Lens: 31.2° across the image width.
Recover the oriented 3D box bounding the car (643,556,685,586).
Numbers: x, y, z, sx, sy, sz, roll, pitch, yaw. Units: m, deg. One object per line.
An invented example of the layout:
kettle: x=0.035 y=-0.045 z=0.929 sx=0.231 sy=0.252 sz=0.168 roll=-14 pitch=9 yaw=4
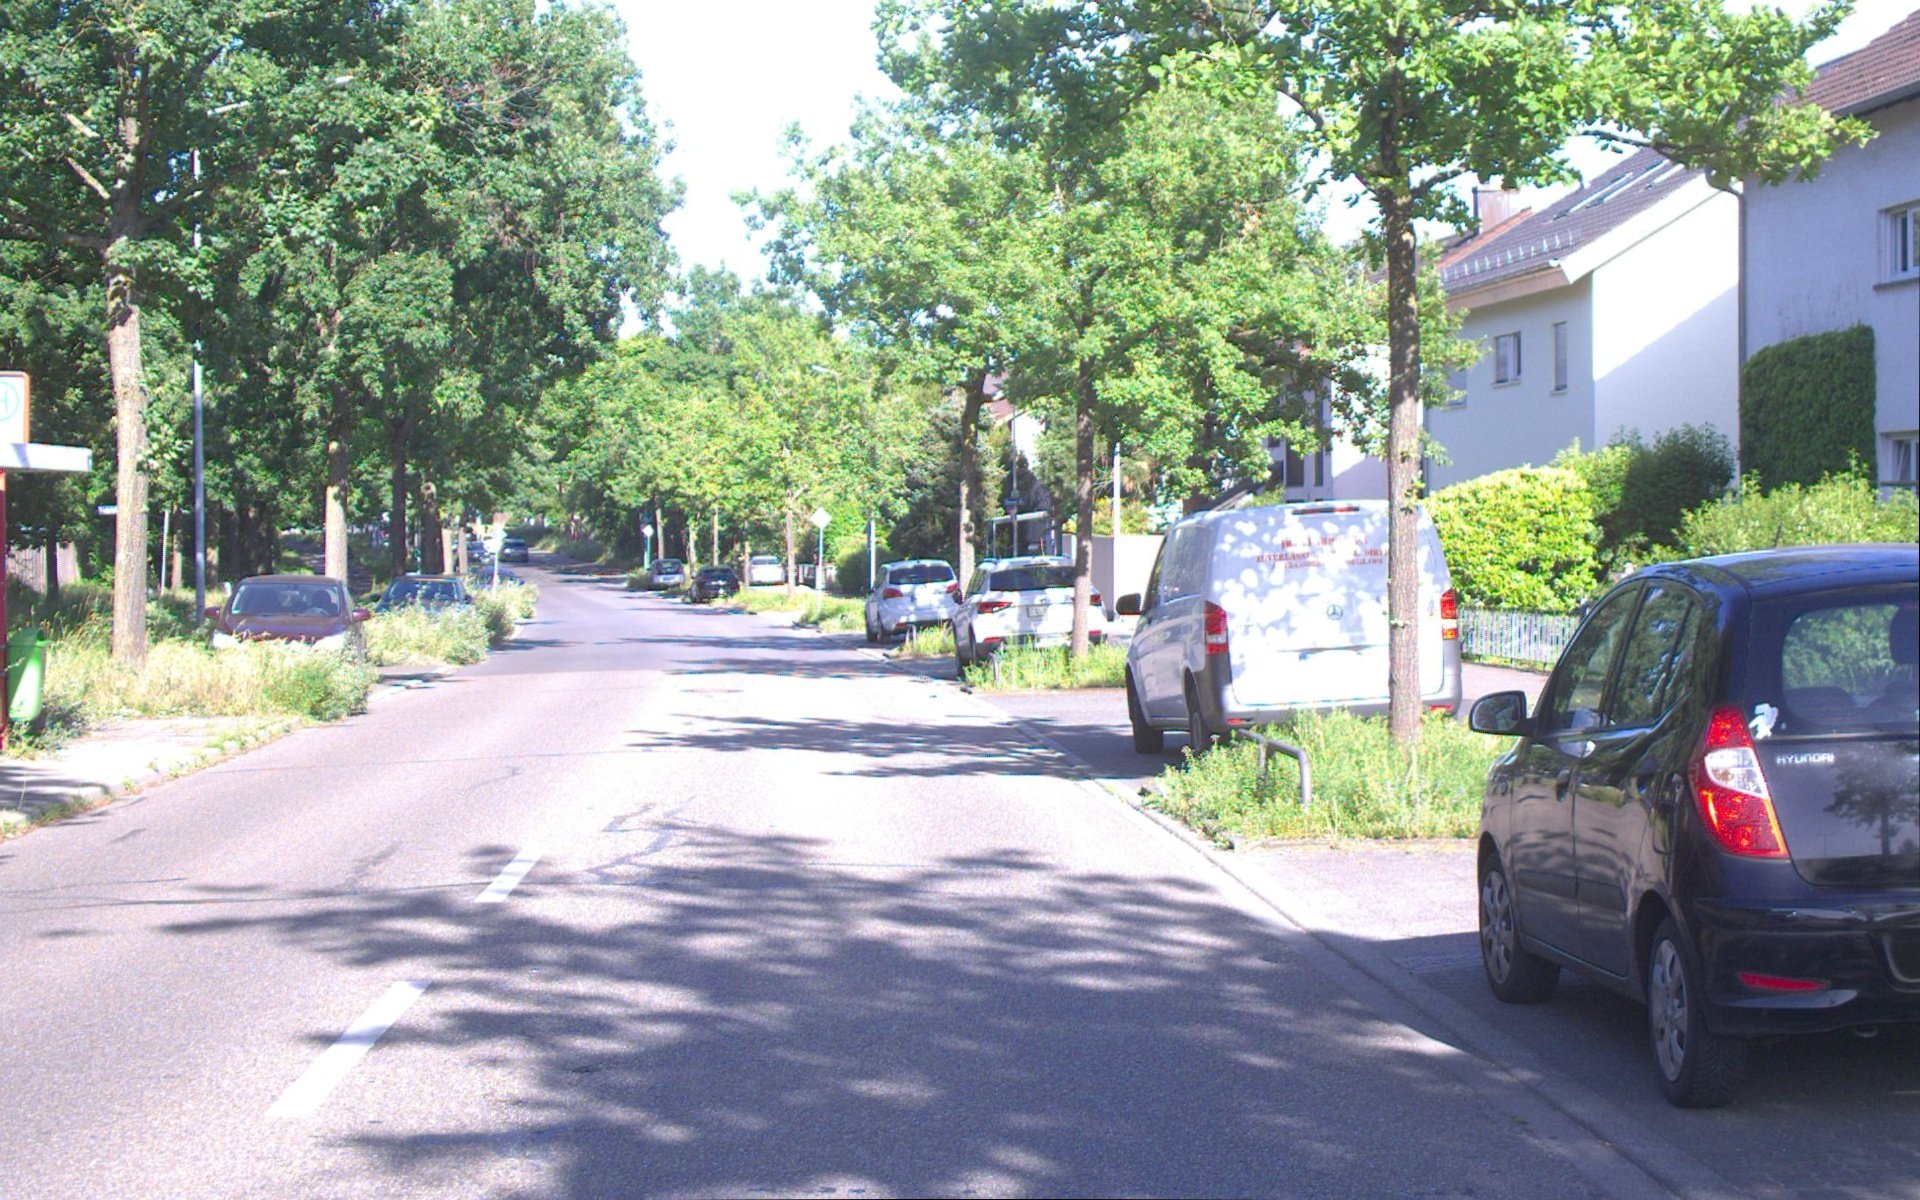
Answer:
car: x=-14.292 y=-1.406 z=165.856 sx=1.933 sy=1.449 sz=4.001 roll=0 pitch=1 yaw=-5

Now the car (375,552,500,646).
car: x=-9.117 y=-0.039 z=60.286 sx=1.993 sy=1.551 sz=4.001 roll=1 pitch=0 yaw=-6

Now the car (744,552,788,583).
car: x=-9.231 y=-1.538 z=163.597 sx=1.933 sy=1.449 sz=4.001 roll=0 pitch=1 yaw=-5

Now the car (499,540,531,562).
car: x=-29.579 y=-3.237 z=228.510 sx=1.933 sy=1.449 sz=4.001 roll=0 pitch=1 yaw=-5

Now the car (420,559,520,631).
car: x=-10.271 y=-0.124 z=72.251 sx=1.796 sy=1.474 sz=3.520 roll=0 pitch=1 yaw=-3

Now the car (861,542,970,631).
car: x=-0.917 y=-0.277 z=68.833 sx=1.933 sy=1.736 sz=4.001 roll=0 pitch=1 yaw=-4

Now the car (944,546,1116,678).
car: x=0.898 y=0.133 z=46.249 sx=1.935 sy=1.698 sz=4.001 roll=0 pitch=1 yaw=-4

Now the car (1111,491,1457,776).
car: x=2.347 y=0.207 z=26.110 sx=1.835 sy=1.964 sz=4.759 roll=0 pitch=1 yaw=-4

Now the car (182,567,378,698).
car: x=-8.056 y=0.350 z=41.044 sx=1.935 sy=1.474 sz=4.001 roll=0 pitch=1 yaw=-6

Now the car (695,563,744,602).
car: x=-9.618 y=-0.694 z=137.322 sx=1.933 sy=1.537 sz=4.001 roll=0 pitch=1 yaw=-4

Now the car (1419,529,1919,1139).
car: x=2.631 y=0.577 z=10.899 sx=1.672 sy=1.573 sz=3.752 roll=-2 pitch=1 yaw=-2
